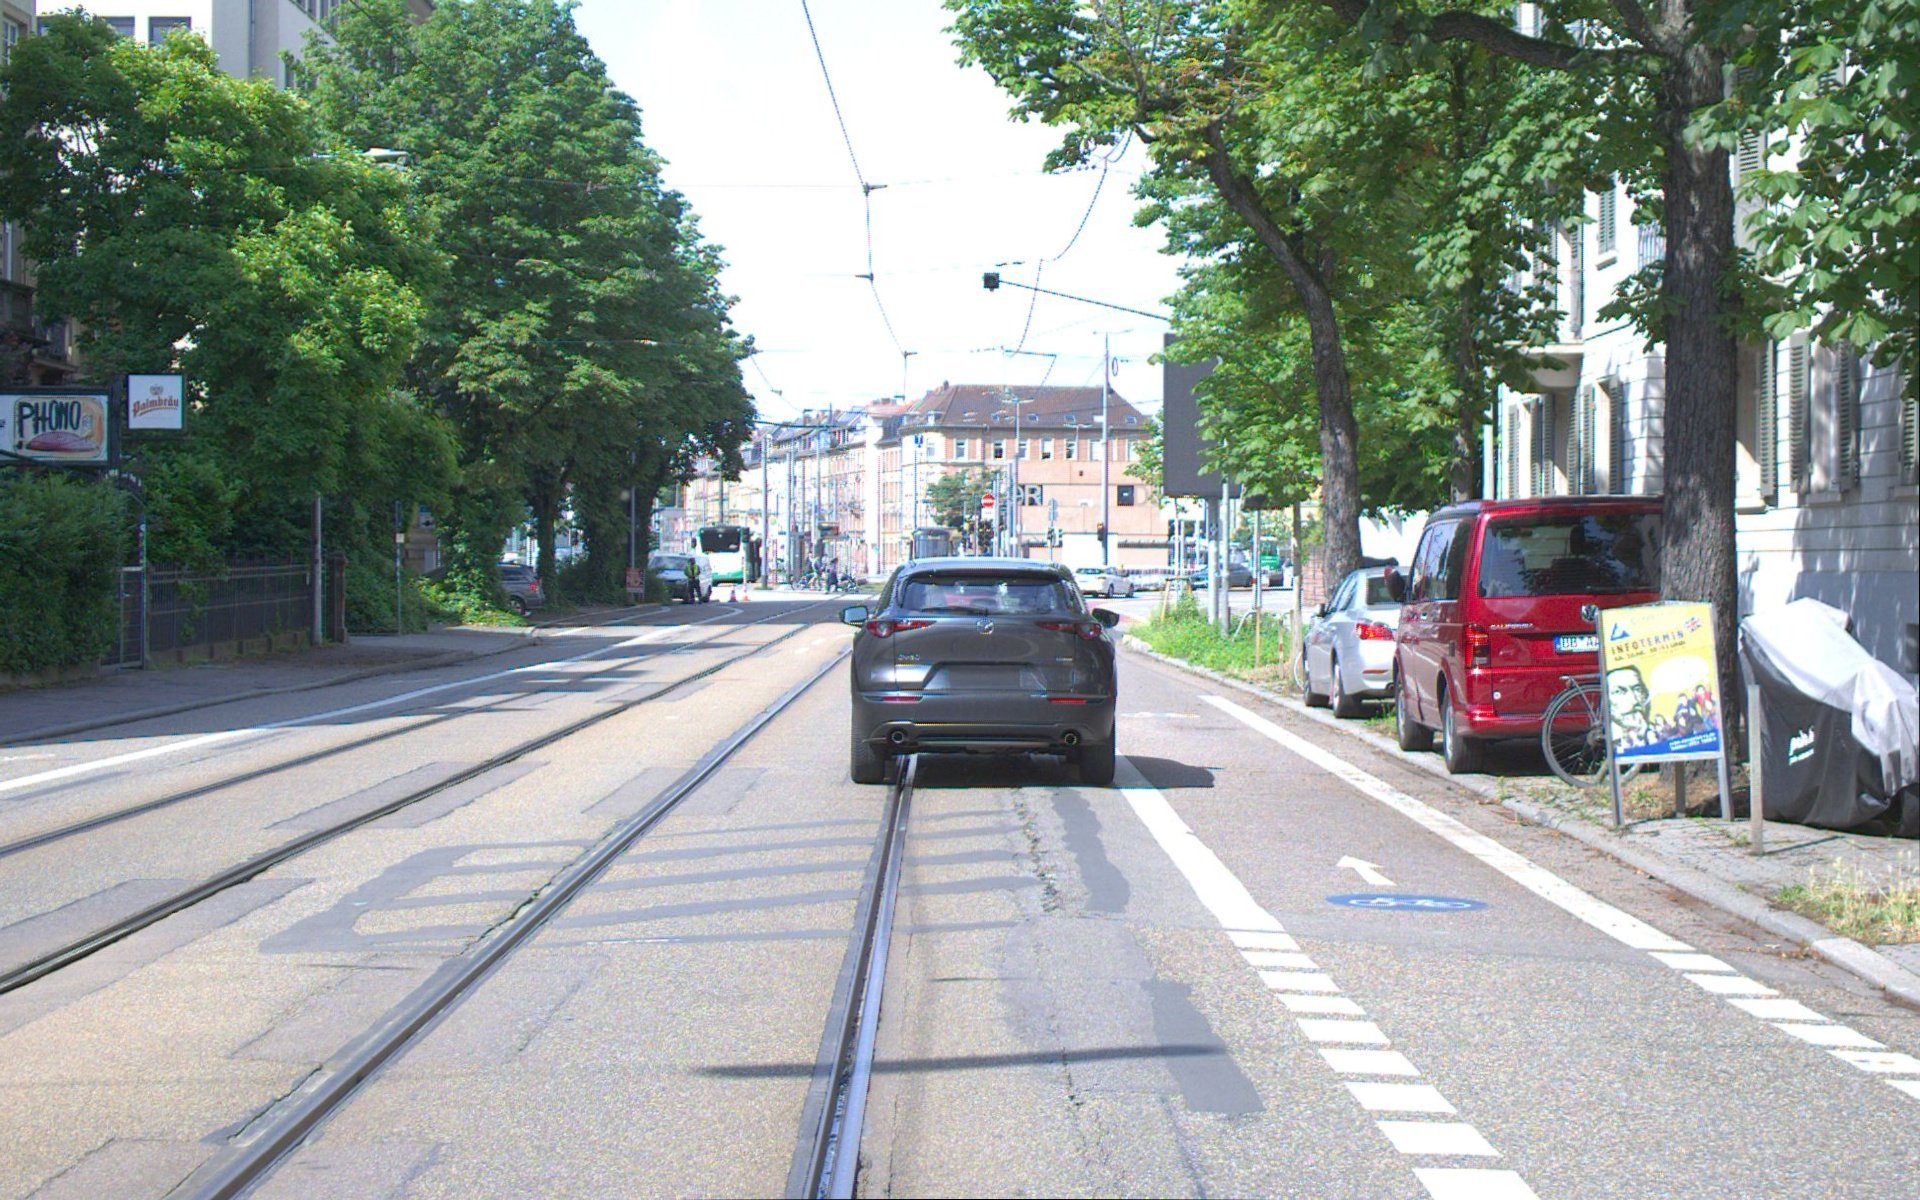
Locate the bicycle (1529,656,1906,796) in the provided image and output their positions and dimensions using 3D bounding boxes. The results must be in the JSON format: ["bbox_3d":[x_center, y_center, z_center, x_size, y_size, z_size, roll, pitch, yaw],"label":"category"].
[{"bbox_3d":[4.870,0.805,22.195,2.275,0.858,0.672,0,1,-1],"label":"bicycle"}]

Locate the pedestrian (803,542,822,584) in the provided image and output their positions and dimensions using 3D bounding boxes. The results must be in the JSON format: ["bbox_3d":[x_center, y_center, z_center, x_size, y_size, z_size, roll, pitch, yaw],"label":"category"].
[{"bbox_3d":[-7.017,-1.764,163.948,0.884,2.007,0.618,0,1,-4],"label":"pedestrian"}]

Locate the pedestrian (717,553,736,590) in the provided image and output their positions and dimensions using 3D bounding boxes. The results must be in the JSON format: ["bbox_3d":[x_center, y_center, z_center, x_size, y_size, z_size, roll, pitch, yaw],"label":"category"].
[{"bbox_3d":[-9.490,-1.154,139.671,0.751,1.505,0.824,0,1,-5],"label":"pedestrian"}]

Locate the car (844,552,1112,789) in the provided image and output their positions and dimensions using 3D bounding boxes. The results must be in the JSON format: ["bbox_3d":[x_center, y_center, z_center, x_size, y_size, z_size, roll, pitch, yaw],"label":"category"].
[{"bbox_3d":[0.096,0.431,24.044,1.720,1.521,3.590,0,1,-1],"label":"car"}]

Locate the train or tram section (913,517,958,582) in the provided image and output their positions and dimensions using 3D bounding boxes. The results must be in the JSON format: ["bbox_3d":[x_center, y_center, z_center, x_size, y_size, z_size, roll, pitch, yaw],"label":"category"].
[{"bbox_3d":[-1.514,-3.038,207.038,2.571,3.760,13.026,1,1,-1],"label":"train or tram section"}]

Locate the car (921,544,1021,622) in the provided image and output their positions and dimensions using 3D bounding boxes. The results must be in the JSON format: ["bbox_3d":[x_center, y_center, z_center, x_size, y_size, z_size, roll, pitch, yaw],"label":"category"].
[{"bbox_3d":[0.201,-0.371,72.454,1.993,1.523,4.000,3,1,-1],"label":"car"}]

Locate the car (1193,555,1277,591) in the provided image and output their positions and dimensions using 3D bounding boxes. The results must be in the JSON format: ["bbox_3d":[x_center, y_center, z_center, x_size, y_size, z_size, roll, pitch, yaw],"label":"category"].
[{"bbox_3d":[13.506,-1.322,168.838,3.806,1.612,1.638,2,1,-31],"label":"car"}]

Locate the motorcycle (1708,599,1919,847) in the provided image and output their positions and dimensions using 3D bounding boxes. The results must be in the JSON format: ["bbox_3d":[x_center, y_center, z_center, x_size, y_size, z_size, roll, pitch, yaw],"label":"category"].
[{"bbox_3d":[4.866,0.646,19.247,0.794,1.267,2.422,0,1,-1],"label":"motorcycle"}]

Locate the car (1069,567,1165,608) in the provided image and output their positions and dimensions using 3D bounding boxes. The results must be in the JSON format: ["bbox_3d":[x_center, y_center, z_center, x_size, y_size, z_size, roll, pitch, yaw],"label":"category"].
[{"bbox_3d":[6.907,-0.566,151.150,3.805,1.612,1.638,2,1,-18],"label":"car"}]

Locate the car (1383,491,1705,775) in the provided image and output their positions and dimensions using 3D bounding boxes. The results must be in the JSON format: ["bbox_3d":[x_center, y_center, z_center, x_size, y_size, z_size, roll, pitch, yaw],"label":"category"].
[{"bbox_3d":[4.304,0.200,25.938,1.720,1.962,4.207,0,1,0],"label":"car"}]

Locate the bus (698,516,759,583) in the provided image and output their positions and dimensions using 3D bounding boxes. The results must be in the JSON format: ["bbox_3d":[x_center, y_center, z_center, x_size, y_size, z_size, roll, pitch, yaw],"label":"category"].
[{"bbox_3d":[-12.571,-2.739,185.699,2.688,3.409,11.020,3,1,-6],"label":"bus"}]

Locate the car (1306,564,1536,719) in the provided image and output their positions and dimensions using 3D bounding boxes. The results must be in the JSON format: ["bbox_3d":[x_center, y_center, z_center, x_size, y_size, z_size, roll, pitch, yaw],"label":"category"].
[{"bbox_3d":[4.461,0.365,33.689,1.720,1.419,3.590,0,1,-1],"label":"car"}]

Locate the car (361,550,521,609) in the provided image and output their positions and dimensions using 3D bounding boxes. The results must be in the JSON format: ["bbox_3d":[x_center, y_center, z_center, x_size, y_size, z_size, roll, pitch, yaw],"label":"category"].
[{"bbox_3d":[-12.834,-0.508,85.174,3.746,1.283,1.611,3,1,-4],"label":"car"}]

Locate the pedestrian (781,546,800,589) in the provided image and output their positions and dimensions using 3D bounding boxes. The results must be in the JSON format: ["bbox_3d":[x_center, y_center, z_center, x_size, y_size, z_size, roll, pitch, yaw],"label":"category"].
[{"bbox_3d":[-8.090,-1.556,164.126,0.884,2.007,0.618,0,1,-4],"label":"pedestrian"}]
